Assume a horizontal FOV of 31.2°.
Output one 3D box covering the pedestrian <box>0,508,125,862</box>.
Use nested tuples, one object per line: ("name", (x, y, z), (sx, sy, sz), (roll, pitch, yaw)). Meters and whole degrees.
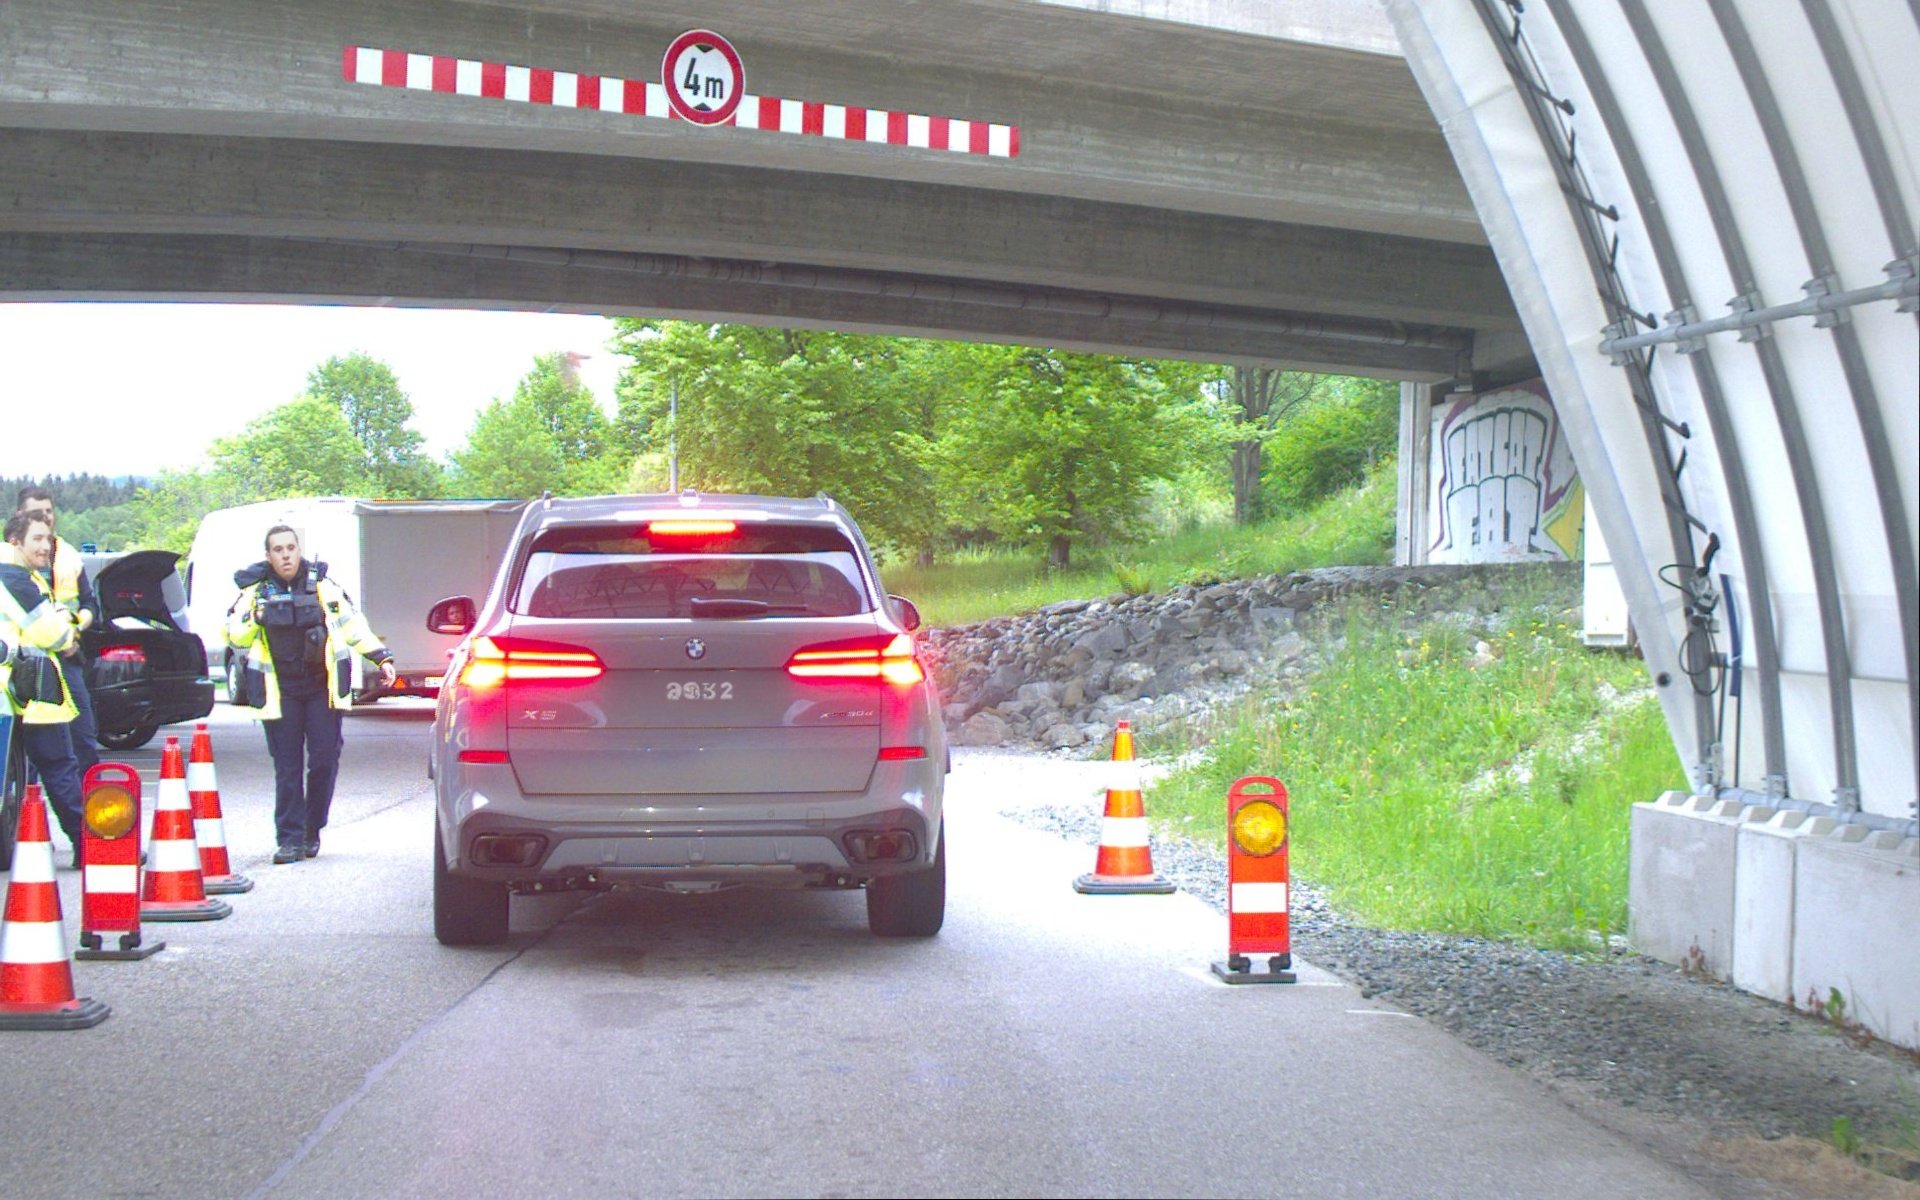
("pedestrian", (-4.603, 0.418, 17.331), (0.609, 1.748, 0.666), (-1, 0, -1))

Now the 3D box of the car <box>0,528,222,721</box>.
("car", (-10.595, 0.256, 37.098), (4.808, 2.007, 1.840), (0, 1, 12))

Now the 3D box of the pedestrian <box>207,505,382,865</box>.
("pedestrian", (-3.257, 0.401, 16.888), (0.779, 1.716, 0.757), (-1, 1, -8))

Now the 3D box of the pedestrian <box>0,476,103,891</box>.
("pedestrian", (-4.483, 0.386, 16.270), (0.749, 1.912, 0.763), (-1, 1, -10))

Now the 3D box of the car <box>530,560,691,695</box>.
("car", (-4.769, 0.341, 46.539), (1.993, 1.716, 3.897), (-1, 1, -8))

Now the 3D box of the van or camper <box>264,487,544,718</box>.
("van or camper", (-6.822, -0.007, 41.507), (2.229, 2.543, 6.613), (-1, 1, -19))

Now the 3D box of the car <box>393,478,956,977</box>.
("car", (-1.169, 0.432, 14.359), (1.993, 1.759, 4.001), (-1, 1, -4))

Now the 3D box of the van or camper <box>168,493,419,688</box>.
("van or camper", (-9.243, -0.160, 47.297), (2.103, 2.510, 5.552), (-1, 1, -25))
